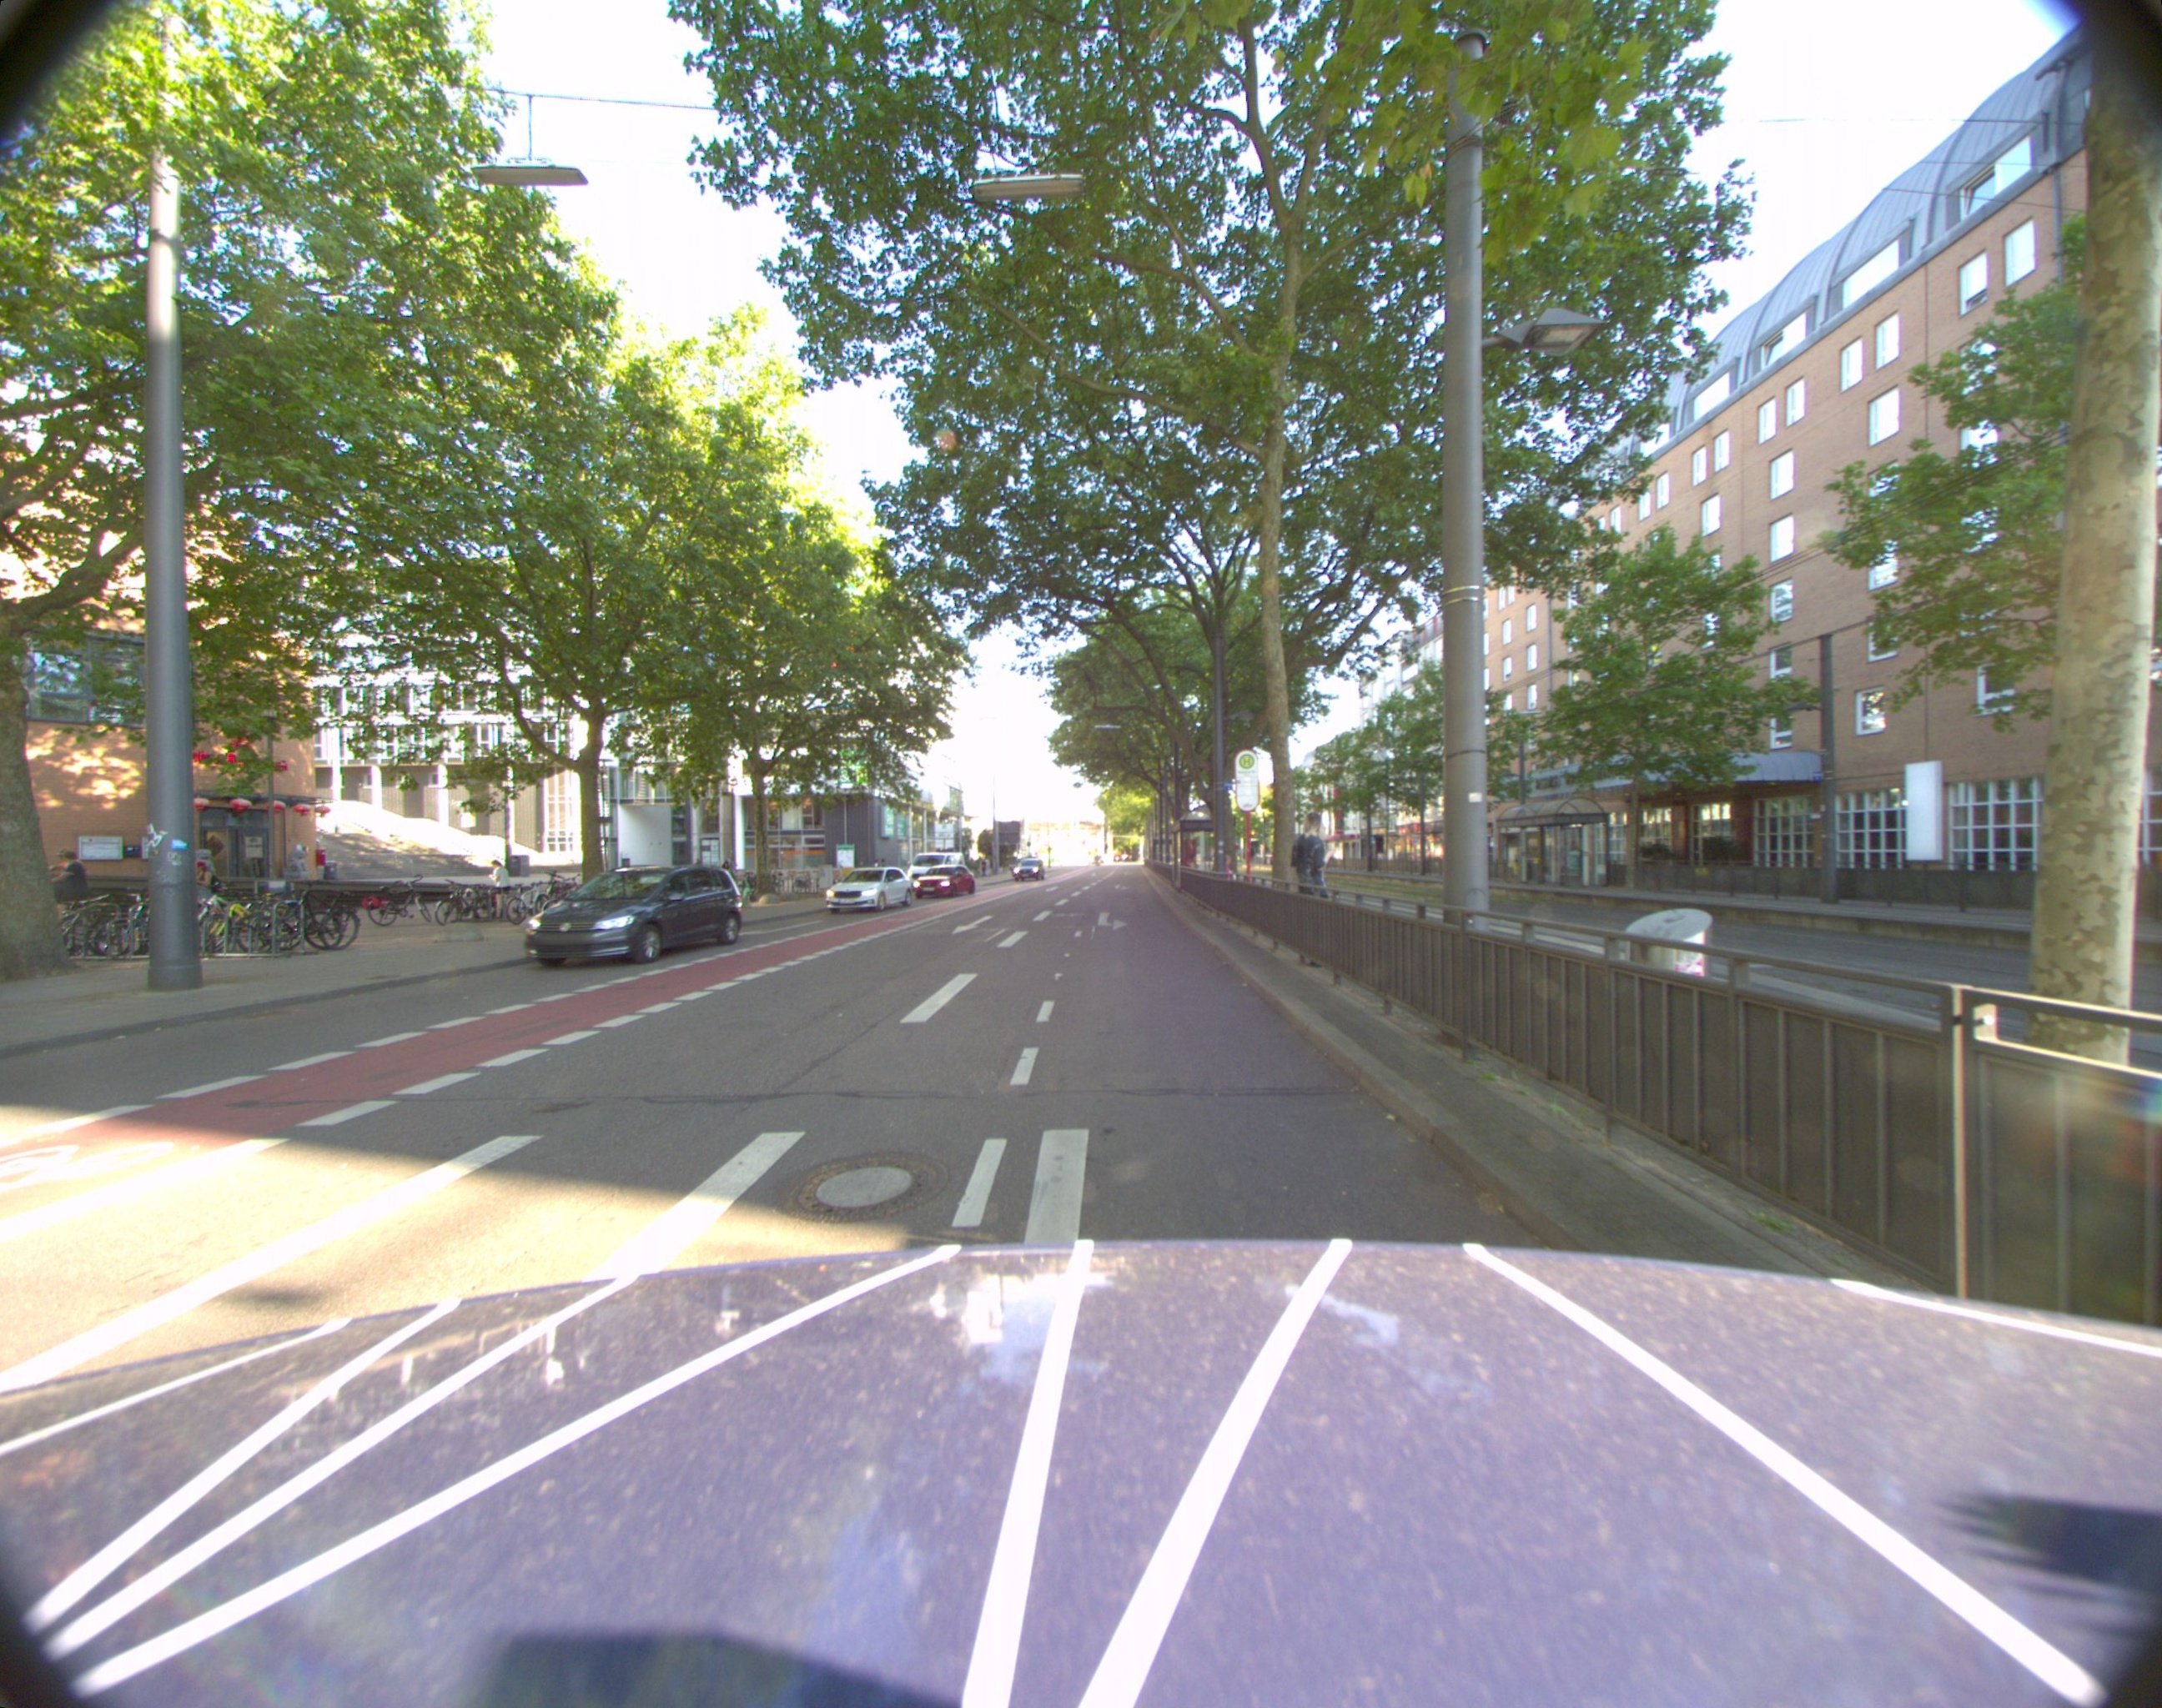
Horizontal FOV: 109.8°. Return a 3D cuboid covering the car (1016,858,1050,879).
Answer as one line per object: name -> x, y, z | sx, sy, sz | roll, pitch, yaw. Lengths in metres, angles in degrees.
car -> -3.666, 1.091, 58.544 | 1.784, 1.481, 4.197 | -3, 0, 7

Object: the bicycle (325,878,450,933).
bicycle -> -17.844, 1.279, 19.669 | 0.699, 1.193, 2.700 | -2, 1, 1

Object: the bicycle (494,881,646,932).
bicycle -> -13.062, 1.311, 19.609 | 0.975, 1.020, 3.208 | -2, 1, 23

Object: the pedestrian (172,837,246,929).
pedestrian -> -21.711, 0.715, 18.925 | 0.842, 2.220, 0.905 | -2, 1, 22

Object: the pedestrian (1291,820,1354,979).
pedestrian -> 2.861, 0.525, 9.032 | 0.543, 1.823, 0.524 | -2, 1, 4

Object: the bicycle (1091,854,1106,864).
bicycle -> 2.653, 0.802, 113.946 | 0.948, 1.460, 2.711 | 0, 0, 34

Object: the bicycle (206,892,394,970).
bicycle -> -13.112, 1.249, 12.895 | 0.682, 1.054, 2.337 | -1, 1, 2

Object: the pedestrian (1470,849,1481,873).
pedestrian -> 29.385, 0.512, 56.591 | 0.504, 1.725, 0.574 | -1, 1, 3

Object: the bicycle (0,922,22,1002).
bicycle -> -13.394, 1.325, 7.927 | 0.925, 0.943, 2.637 | -2, 1, 1

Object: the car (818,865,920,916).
car -> -7.096, 1.173, 25.950 | 1.835, 1.481, 4.197 | -2, 0, 7

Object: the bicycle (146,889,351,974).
bicycle -> -14.048, 1.264, 12.968 | 0.751, 1.155, 2.398 | -2, 1, 2

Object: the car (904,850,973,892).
car -> -7.339, 0.814, 39.888 | 1.932, 1.953, 5.920 | -2, 0, 6

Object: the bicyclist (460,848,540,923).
bicyclist -> -16.068, 0.854, 21.026 | 1.296, 2.002, 1.158 | -1, 1, 17

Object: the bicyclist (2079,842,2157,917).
bicyclist -> 22.222, 0.537, 16.295 | 0.662, 1.560, 0.758 | -1, 1, -7

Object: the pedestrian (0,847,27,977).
pedestrian -> -17.078, 0.895, 11.458 | 0.934, 2.002, 1.091 | -1, 1, -25

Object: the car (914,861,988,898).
car -> -5.867, 1.132, 34.942 | 1.834, 1.481, 4.199 | -3, 0, 12

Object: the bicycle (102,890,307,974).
bicycle -> -14.816, 1.269, 12.976 | 0.671, 1.155, 2.305 | -2, 1, 3

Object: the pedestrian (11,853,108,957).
pedestrian -> -23.333, 1.126, 17.393 | 1.048, 2.235, 1.221 | -1, 1, 38

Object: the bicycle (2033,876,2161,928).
bicycle -> 22.238, 1.011, 16.475 | 0.696, 0.992, 1.900 | -1, 0, -6

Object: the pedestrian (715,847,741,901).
pedestrian -> -17.693, 0.989, 38.094 | 0.981, 2.633, 0.900 | -3, 1, -31

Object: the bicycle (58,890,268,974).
bicycle -> -15.520, 1.271, 12.976 | 0.657, 1.155, 2.293 | -2, 1, 3

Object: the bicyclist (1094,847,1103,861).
bicyclist -> 2.666, -0.052, 113.951 | 0.957, 2.002, 0.940 | -1, 1, 34

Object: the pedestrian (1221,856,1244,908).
pedestrian -> 3.926, 0.726, 19.676 | 0.542, 1.310, 0.524 | -2, 1, 12

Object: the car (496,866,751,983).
car -> -7.836, 1.099, 13.608 | 1.710, 1.626, 4.391 | -2, 0, 3

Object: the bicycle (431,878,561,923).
bicycle -> -16.235, 1.261, 21.092 | 3.328, 1.077, 1.150 | 0, 1, 18

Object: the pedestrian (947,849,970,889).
pedestrian -> -6.291, 0.775, 39.188 | 0.815, 2.002, 0.979 | -2, 0, 10
